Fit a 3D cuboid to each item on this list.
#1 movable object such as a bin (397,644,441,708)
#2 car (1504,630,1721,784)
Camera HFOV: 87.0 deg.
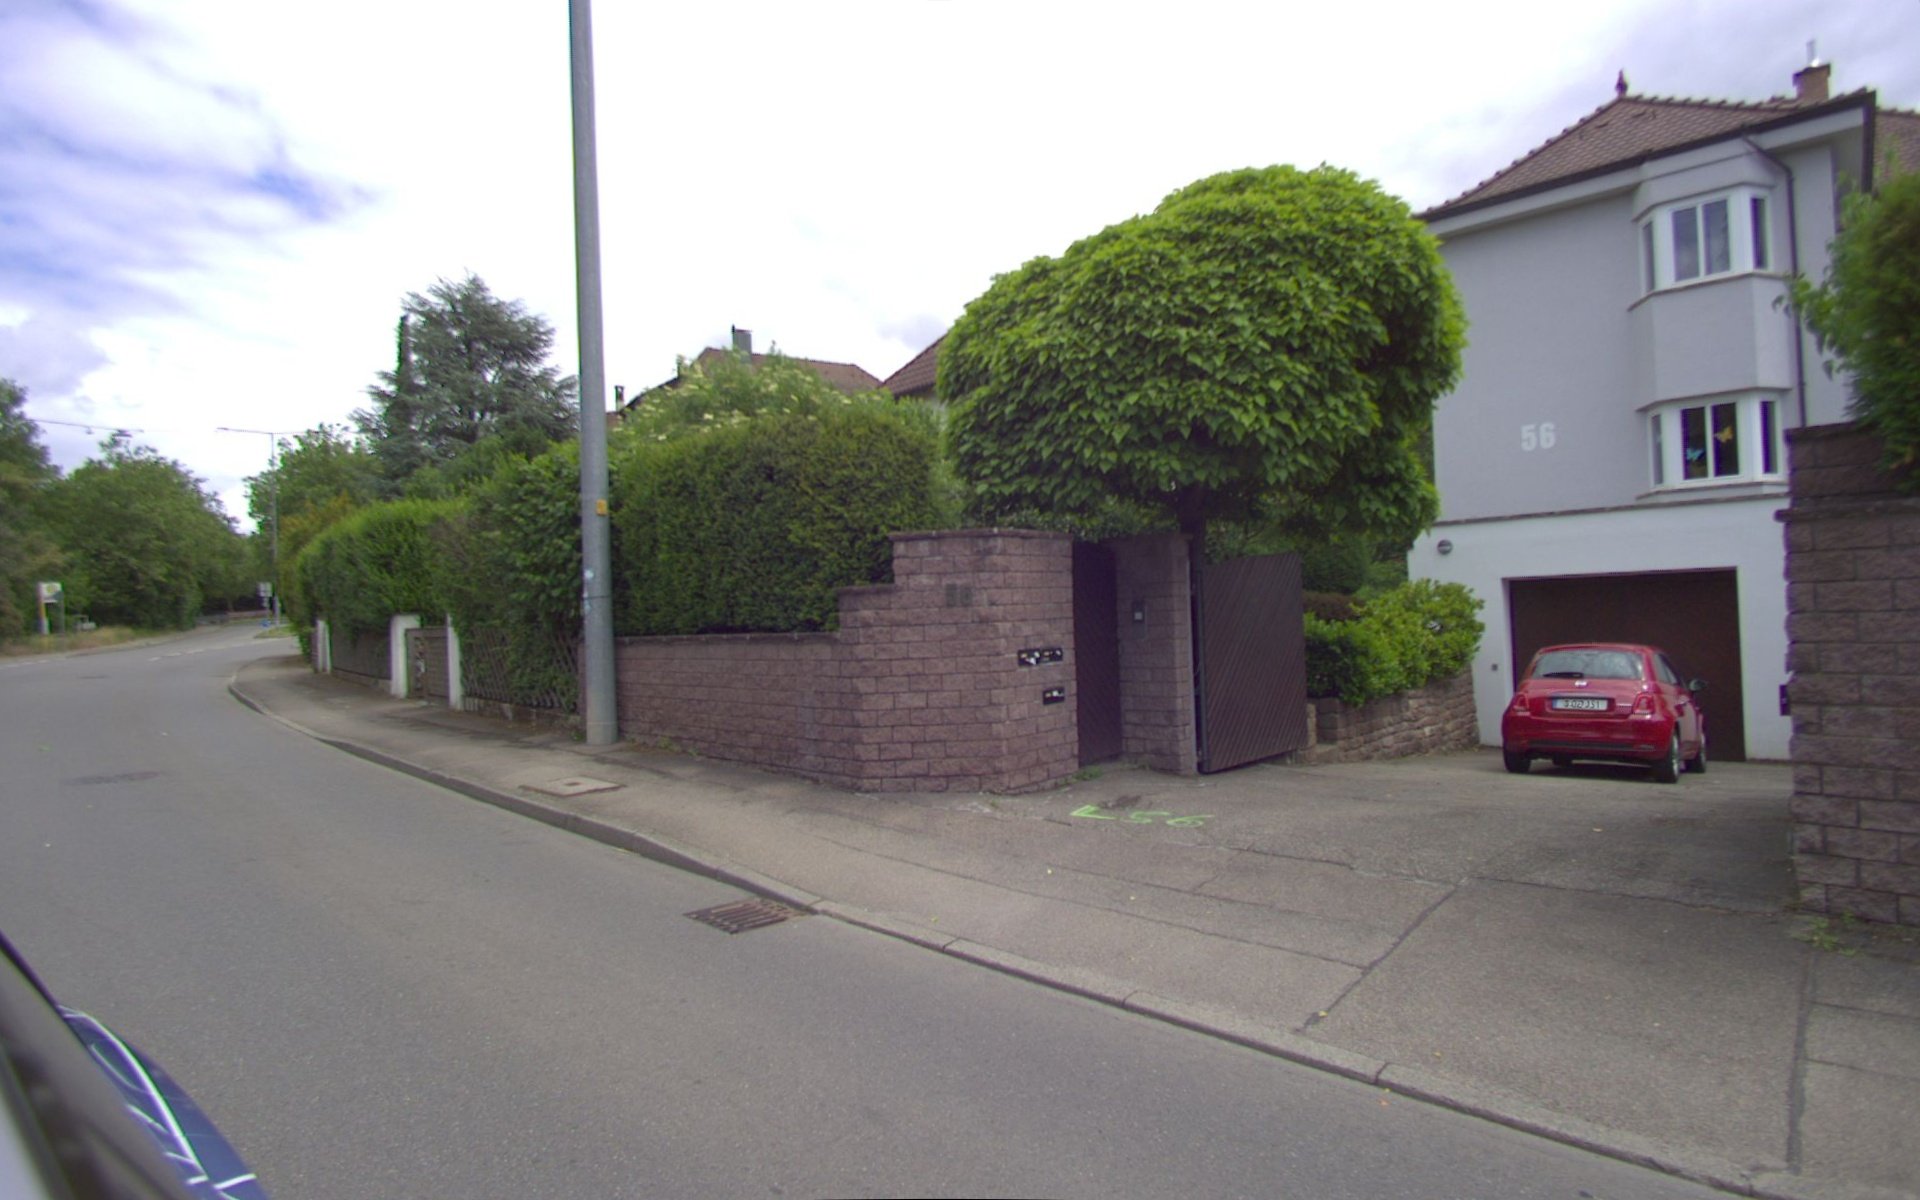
[{"bbox_3d":[-9.175,1.289,17.172,0.498,1.039,0.443,-4,-2,31],"label":"movable object such as a bin"},{"bbox_3d":[7.475,1.185,11.524,1.611,1.502,2.822,-3,-6,42],"label":"car"}]
